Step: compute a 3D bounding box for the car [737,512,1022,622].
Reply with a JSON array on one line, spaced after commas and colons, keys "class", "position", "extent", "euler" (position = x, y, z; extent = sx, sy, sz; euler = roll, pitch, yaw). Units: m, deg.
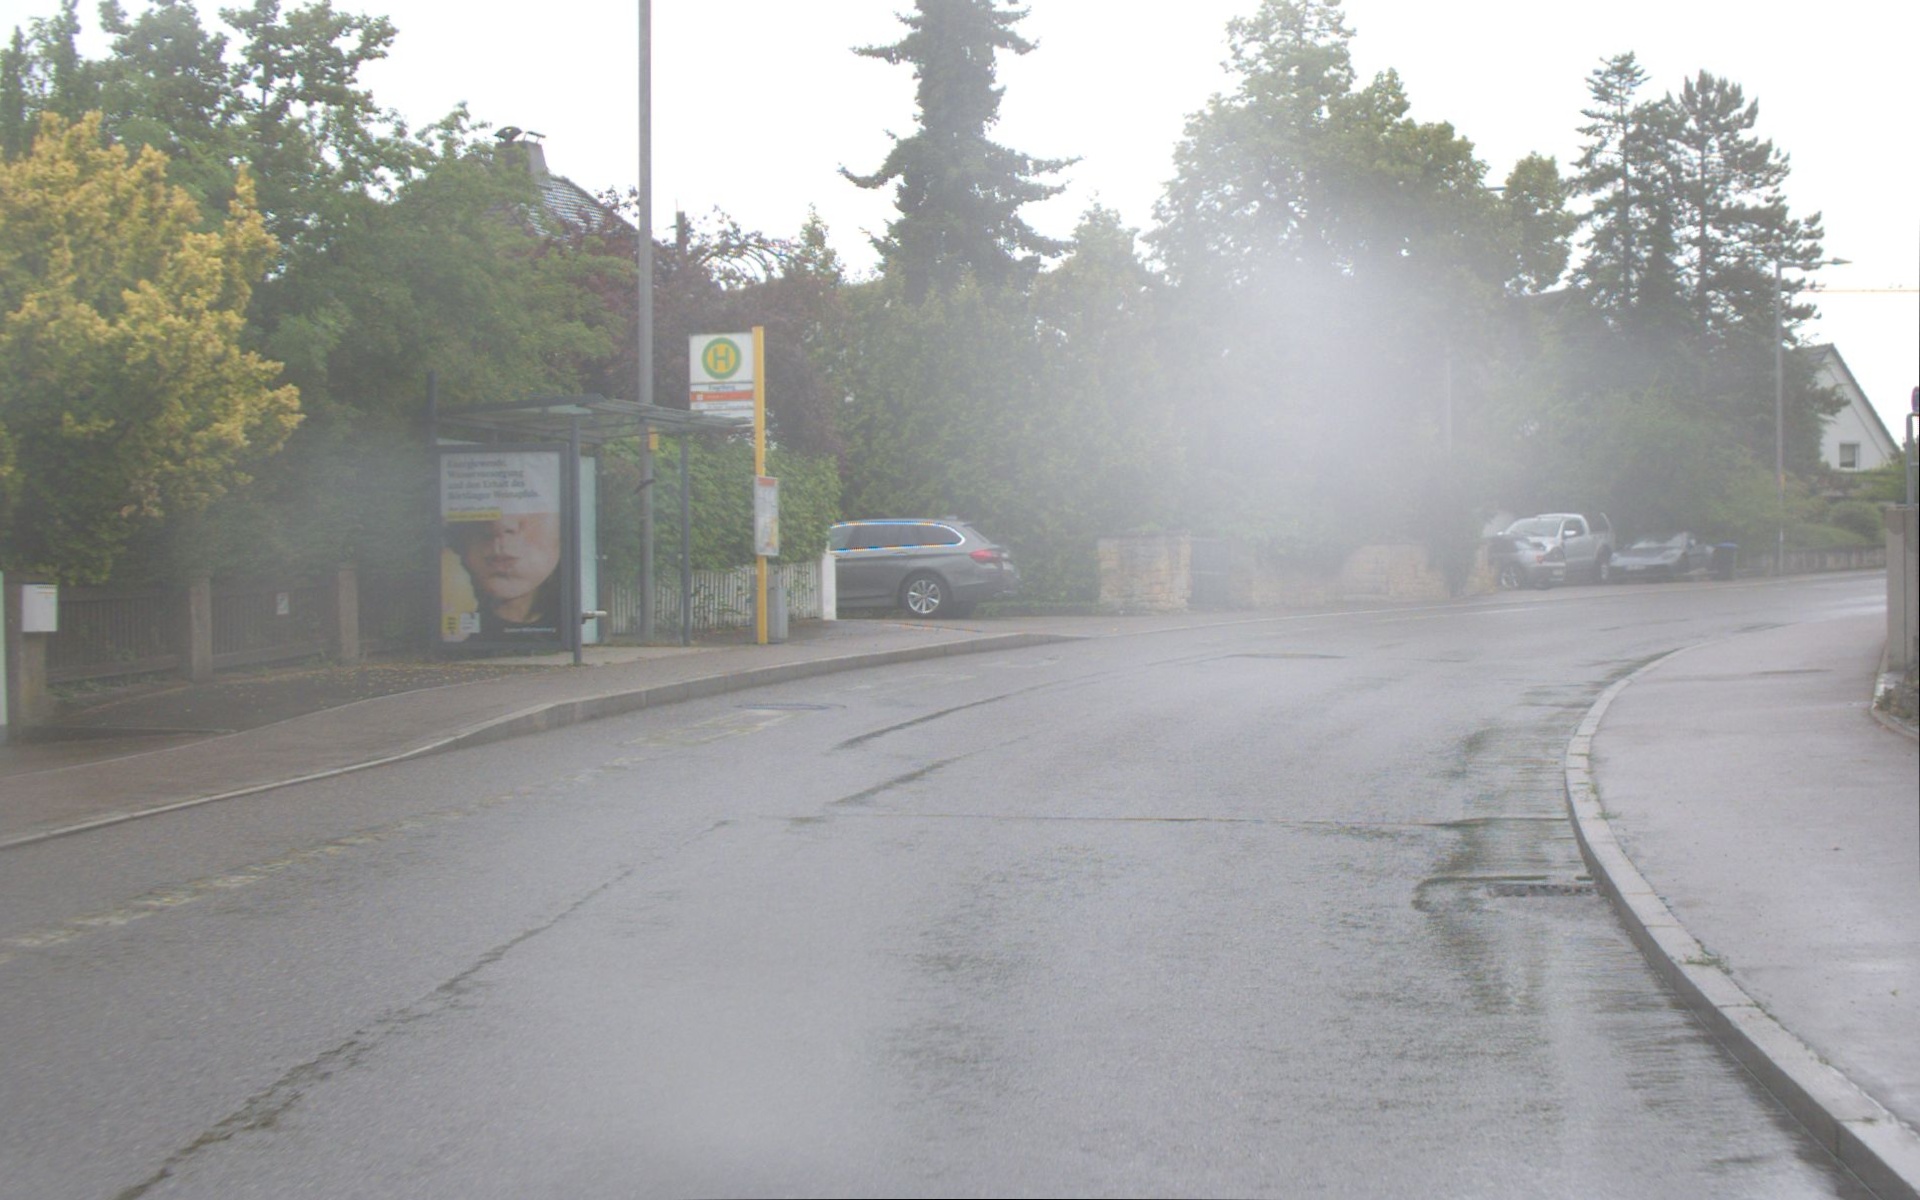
[{"class": "car", "position": [-1.151, -0.492, 49.857], "extent": [3.846, 1.567, 1.785], "euler": [0, 1, 11]}]

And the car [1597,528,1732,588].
[{"class": "car", "position": [17.691, -1.076, 86.203], "extent": [1.997, 1.455, 3.993], "euler": [1, 1, 33]}]

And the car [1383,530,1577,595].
[{"class": "car", "position": [11.950, -0.870, 79.053], "extent": [3.994, 1.455, 1.899], "euler": [1, 1, 31]}]
